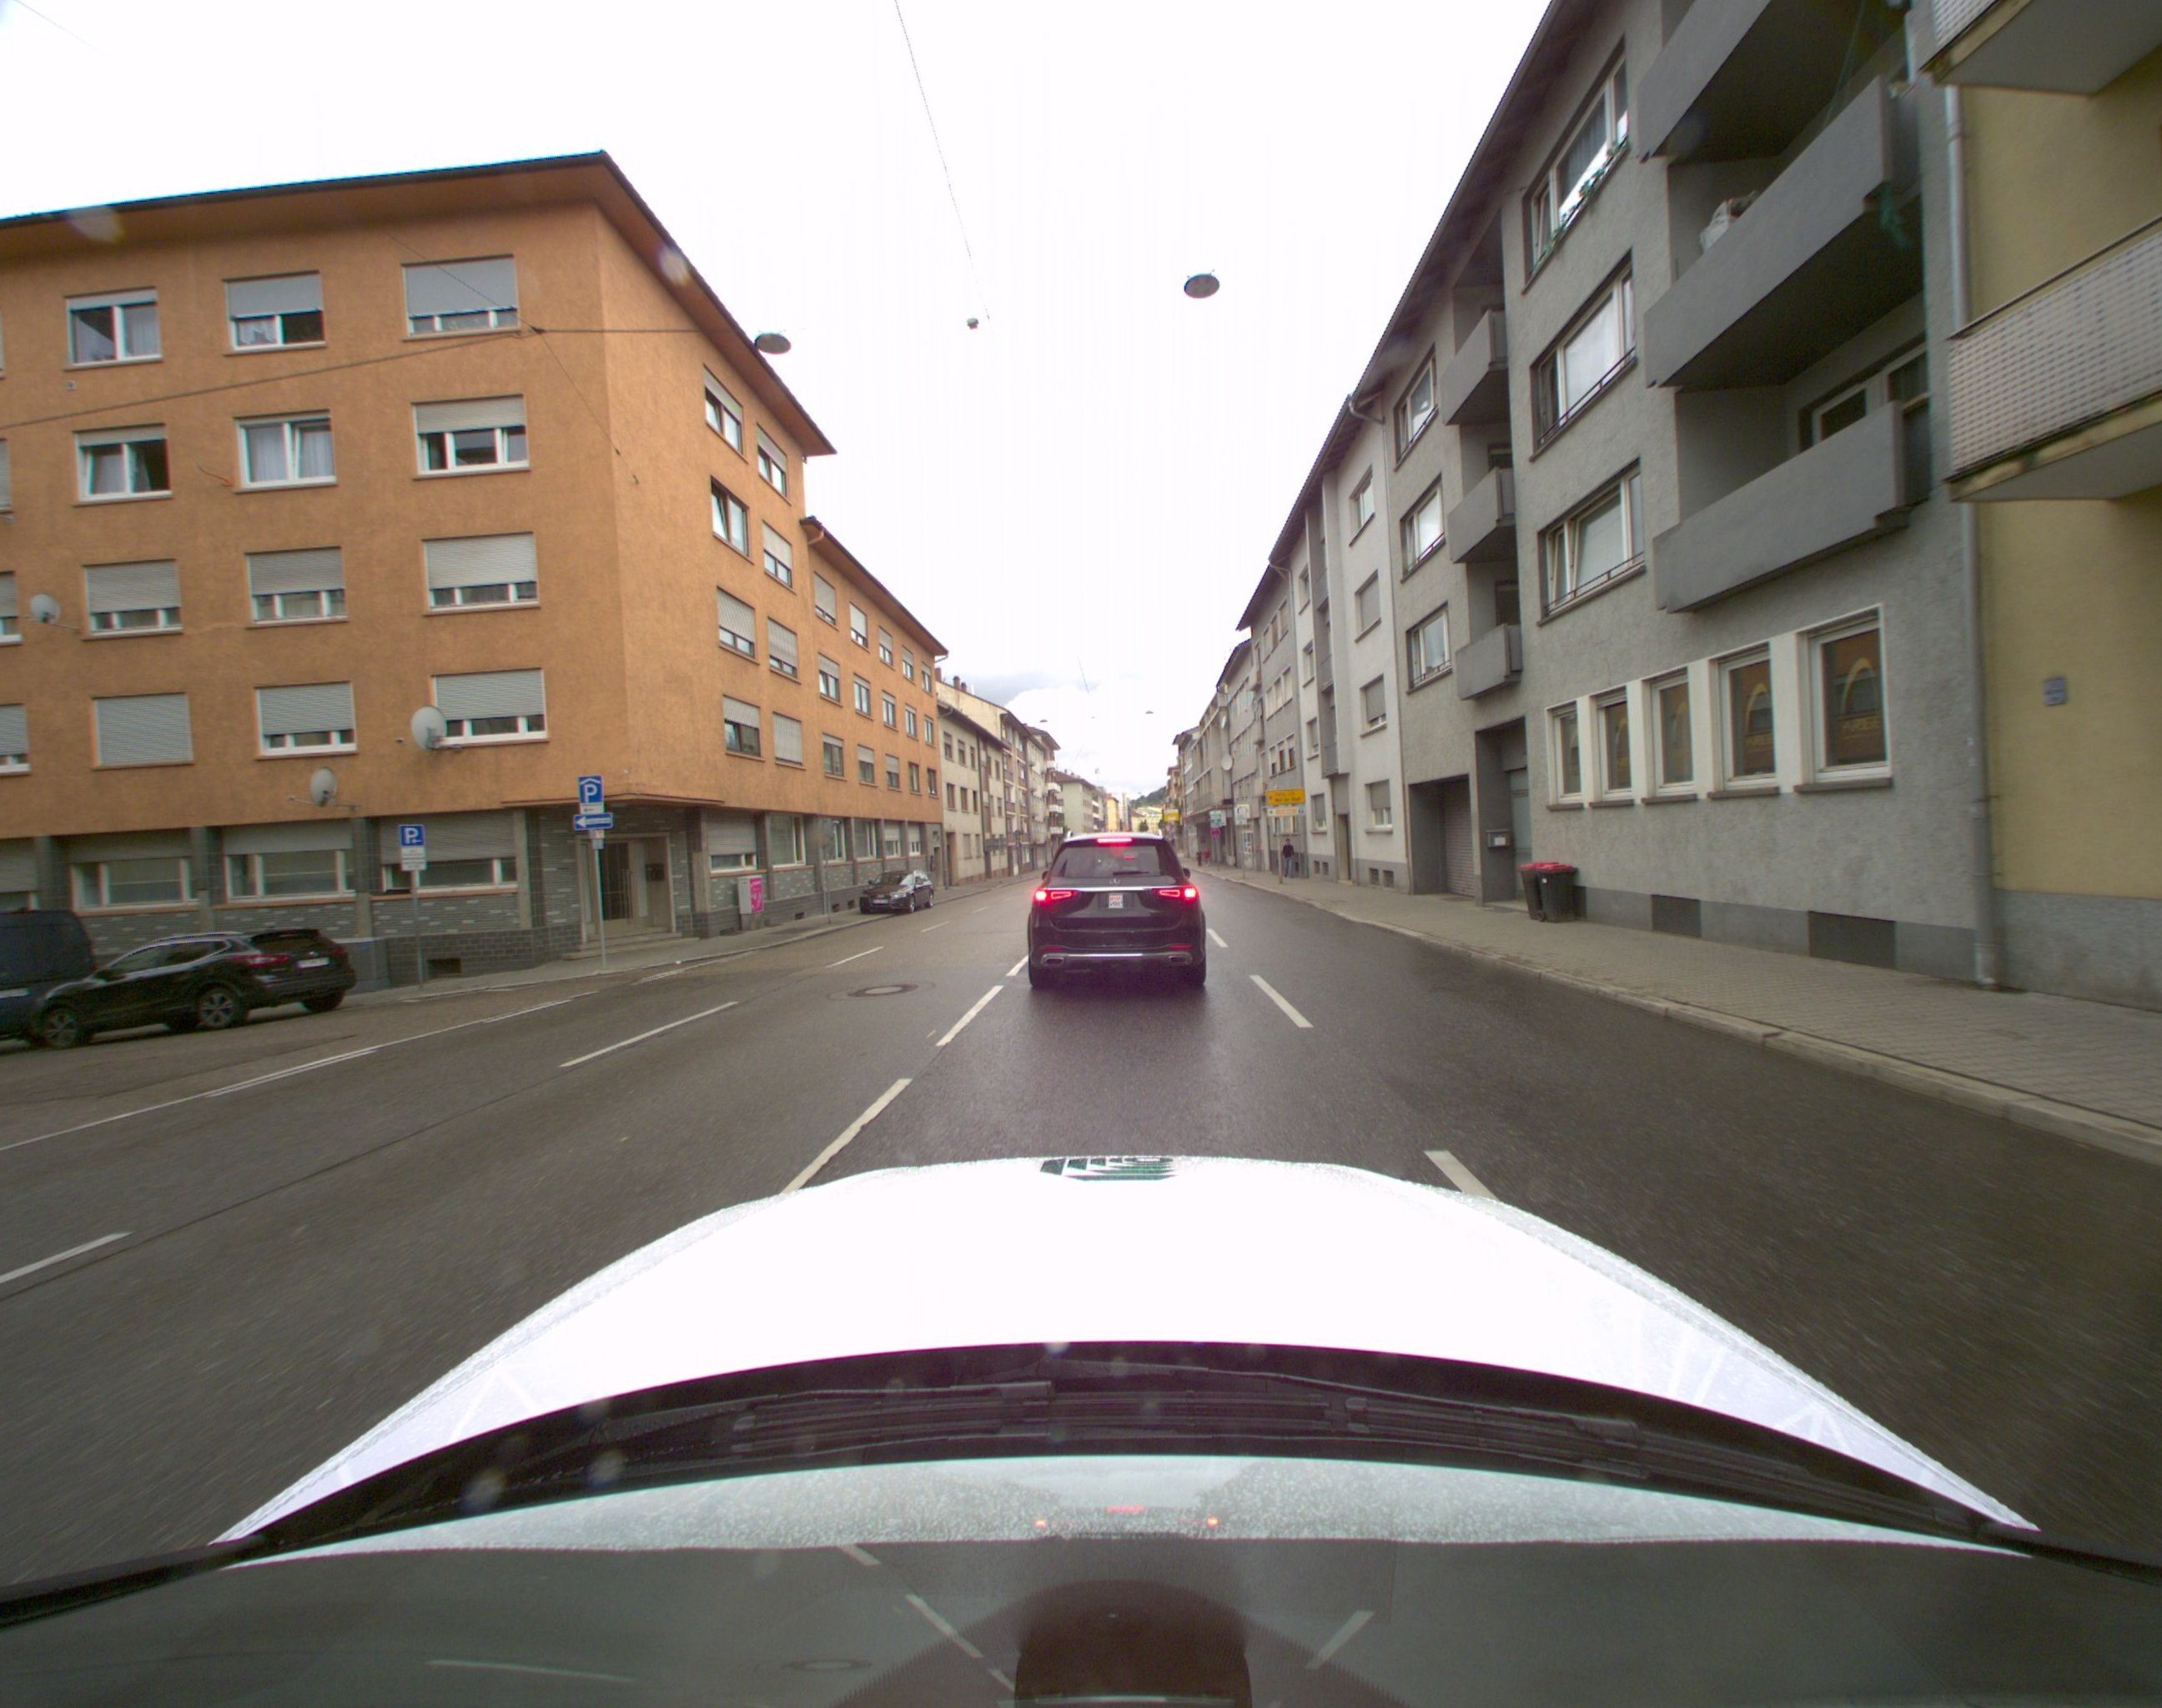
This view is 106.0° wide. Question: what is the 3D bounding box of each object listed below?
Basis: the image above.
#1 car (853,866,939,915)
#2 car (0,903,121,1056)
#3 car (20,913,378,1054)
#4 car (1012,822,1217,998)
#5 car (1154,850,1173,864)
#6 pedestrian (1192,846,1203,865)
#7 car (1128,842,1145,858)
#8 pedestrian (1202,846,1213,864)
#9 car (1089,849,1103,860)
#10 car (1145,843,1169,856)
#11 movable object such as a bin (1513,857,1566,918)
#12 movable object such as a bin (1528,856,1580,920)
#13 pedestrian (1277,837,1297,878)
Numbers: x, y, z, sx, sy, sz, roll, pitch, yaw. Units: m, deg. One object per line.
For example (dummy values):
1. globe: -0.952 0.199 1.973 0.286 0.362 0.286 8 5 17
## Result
1. car: -6.597 1.261 29.587 1.884 1.458 4.551 -2 1 2
2. car: -20.832 2.474 14.216 5.329 2.458 1.981 -7 0 -3
3. car: -14.956 2.153 13.985 3.970 1.652 1.932 -7 0 3
4. car: 0.446 0.546 10.726 2.068 1.765 4.614 -2 1 2
5. car: 9.056 0.291 89.661 1.727 1.388 4.586 -2 1 2
6. pedestrian: 9.973 0.154 69.771 0.816 1.565 0.901 -2 0 6
7. car: 7.152 -0.525 104.657 1.983 2.013 4.007 -2 1 6
8. pedestrian: 10.817 0.079 69.694 0.816 1.565 0.901 -2 0 6
9. car: 2.182 0.057 114.775 1.884 1.458 4.551 -2 1 2
10. car: 13.101 -0.751 139.976 3.967 2.013 2.004 -2 0 6
11. movable object such as a bin: 7.845 0.561 13.944 0.560 0.962 0.475 -6 0 5
12. movable object such as a bin: 7.768 0.548 13.392 0.471 0.962 0.565 -6 0 5
13. pedestrian: 9.111 0.165 36.032 0.652 1.752 0.743 -5 0 8
